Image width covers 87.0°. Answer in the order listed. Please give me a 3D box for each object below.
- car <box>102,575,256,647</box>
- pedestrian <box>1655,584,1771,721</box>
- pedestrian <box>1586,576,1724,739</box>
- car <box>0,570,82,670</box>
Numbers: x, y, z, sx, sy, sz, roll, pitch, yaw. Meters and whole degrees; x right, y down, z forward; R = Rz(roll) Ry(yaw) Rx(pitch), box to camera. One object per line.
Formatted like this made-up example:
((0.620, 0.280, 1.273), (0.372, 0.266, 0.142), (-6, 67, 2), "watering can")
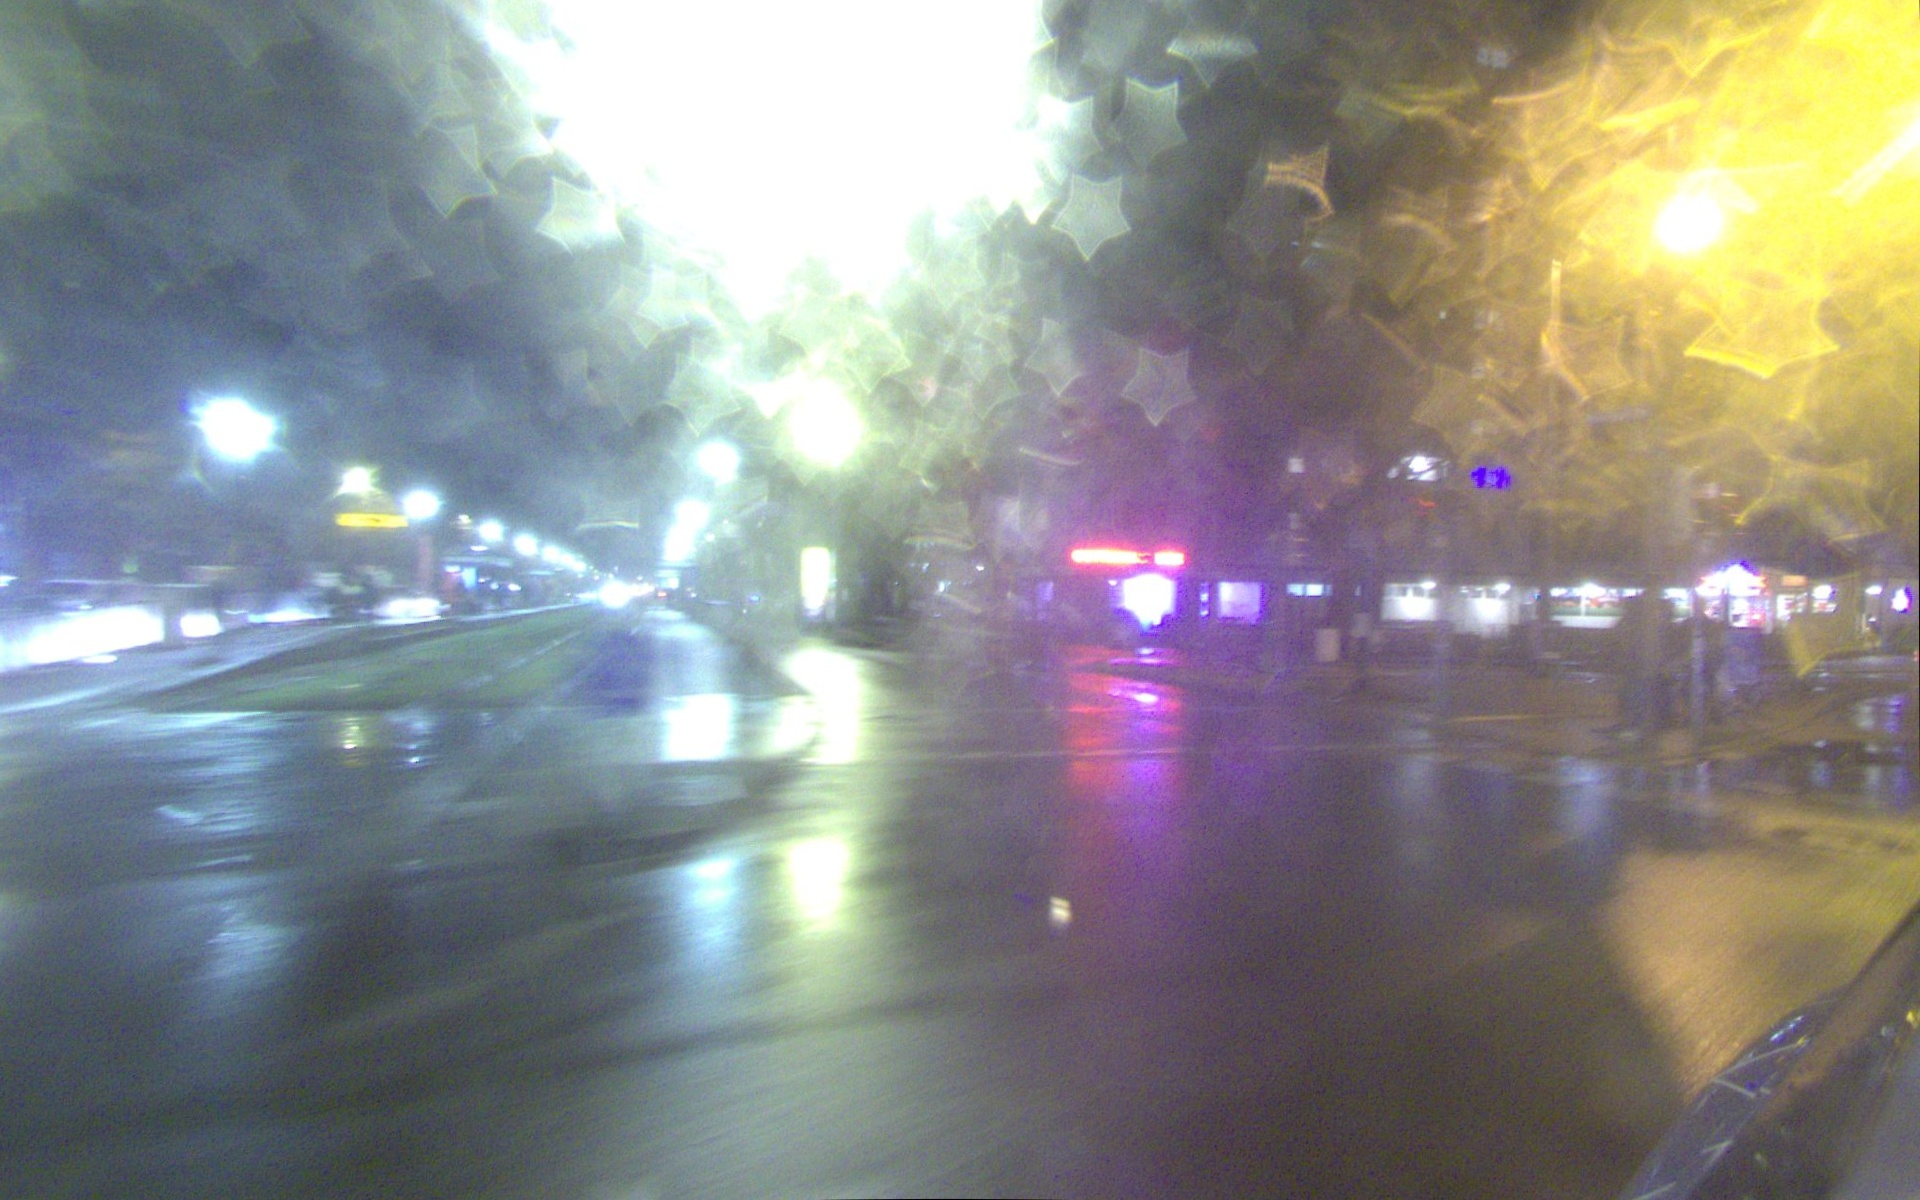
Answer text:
((-18.663, 0.236, 24.382), (1.655, 1.599, 3.737), (1, 0, -16), "car")
((10.720, 0.709, 14.417), (0.835, 1.849, 1.110), (2, 0, -37), "pedestrian")
((8.338, 0.647, 12.162), (0.834, 1.849, 1.111), (2, 0, -35), "pedestrian")
((-16.371, 0.301, 16.574), (1.706, 1.599, 3.806), (1, 0, -19), "car")
